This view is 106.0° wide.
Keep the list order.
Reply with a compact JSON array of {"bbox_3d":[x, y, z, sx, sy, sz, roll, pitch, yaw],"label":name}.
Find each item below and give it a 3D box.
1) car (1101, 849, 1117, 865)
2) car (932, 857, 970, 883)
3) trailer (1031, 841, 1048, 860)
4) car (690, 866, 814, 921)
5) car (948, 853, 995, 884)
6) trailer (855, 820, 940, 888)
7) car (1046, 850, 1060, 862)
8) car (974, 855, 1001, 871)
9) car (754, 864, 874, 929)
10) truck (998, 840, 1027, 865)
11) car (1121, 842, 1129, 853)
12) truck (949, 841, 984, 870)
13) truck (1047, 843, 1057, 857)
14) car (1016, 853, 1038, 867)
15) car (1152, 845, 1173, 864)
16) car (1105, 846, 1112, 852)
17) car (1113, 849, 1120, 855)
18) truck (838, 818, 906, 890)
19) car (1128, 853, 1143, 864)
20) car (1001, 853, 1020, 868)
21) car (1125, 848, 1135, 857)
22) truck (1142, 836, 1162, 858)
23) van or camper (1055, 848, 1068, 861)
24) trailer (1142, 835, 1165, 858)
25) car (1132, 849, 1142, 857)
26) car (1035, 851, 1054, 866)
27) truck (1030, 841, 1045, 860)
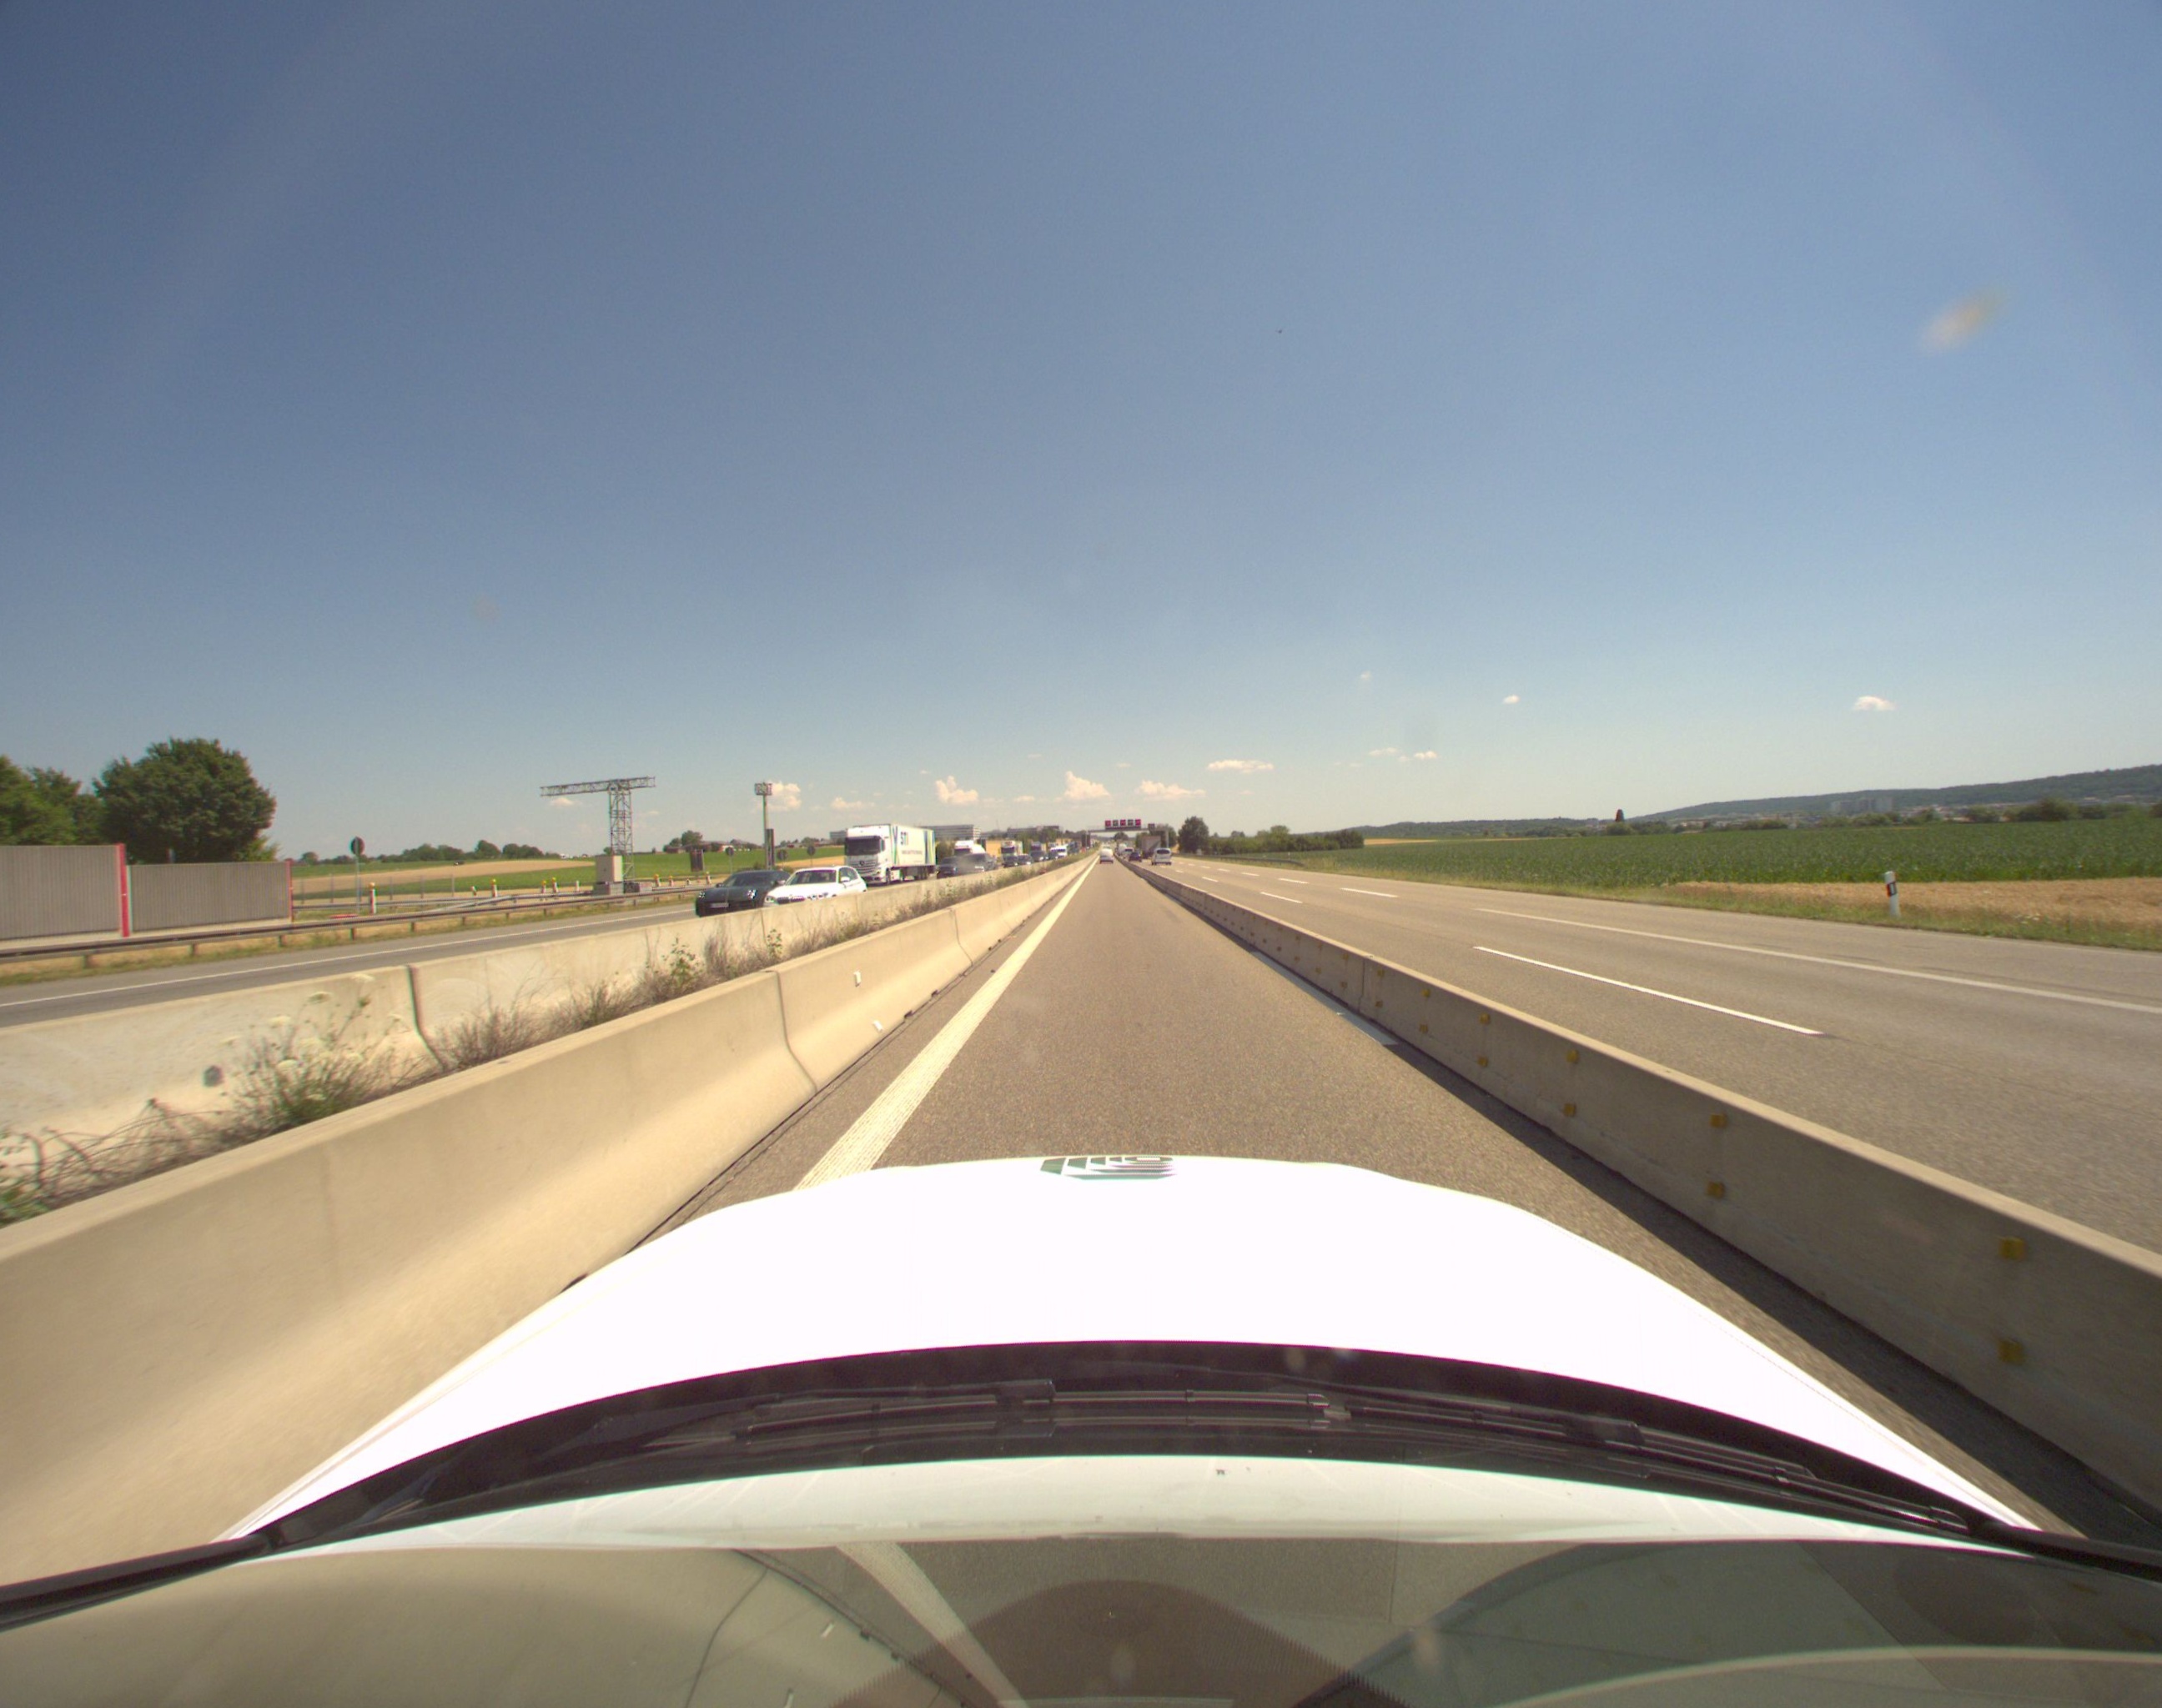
[{"bbox_3d":[3.562,0.409,103.980,1.986,2.014,4.001,-1,0,1],"label":"car"},{"bbox_3d":[-9.492,1.128,59.741,1.986,1.816,4.001,-1,0,1],"label":"car"},{"bbox_3d":[-9.682,-0.818,191.645,2.800,4.128,14.134,-2,0,1],"label":"trailer"},{"bbox_3d":[-10.380,1.191,26.137,1.805,1.486,4.964,-2,0,1],"label":"car"},{"bbox_3d":[-6.191,0.804,46.443,1.883,1.617,4.822,-1,0,1],"label":"car"},{"bbox_3d":[-13.477,-0.027,61.320,2.882,4.375,12.998,-3,0,2],"label":"trailer"},{"bbox_3d":[-4.024,0.248,118.559,1.775,1.589,4.543,-1,0,2],"label":"car"},{"bbox_3d":[-9.102,0.860,79.628,1.839,1.482,4.924,-1,0,2],"label":"car"},{"bbox_3d":[-7.155,1.074,22.346,1.668,1.519,4.509,-1,0,2],"label":"car"},{"bbox_3d":[-10.897,-0.242,130.561,2.784,3.609,13.296,-4,0,2],"label":"truck"},{"bbox_3d":[10.060,-1.405,187.639,1.767,2.392,4.001,-1,0,2],"label":"car"},{"bbox_3d":[-16.617,0.164,119.315,2.889,3.776,13.290,-4,0,1],"label":"truck"},{"bbox_3d":[-8.444,-1.201,237.956,2.402,4.086,4.662,-2,0,2],"label":"truck"},{"bbox_3d":[-5.202,0.565,79.063,1.649,1.351,4.268,-1,0,2],"label":"car"},{"bbox_3d":[9.124,0.060,91.113,1.986,2.120,4.001,-1,0,1],"label":"car"},{"bbox_3d":[8.300,-1.623,247.586,1.986,1.835,4.001,-1,0,2],"label":"car"},{"bbox_3d":[11.317,-0.647,260.963,1.986,1.835,4.001,-1,0,2],"label":"car"},{"bbox_3d":[-13.686,-0.031,53.840,2.860,4.375,4.904,-3,0,1],"label":"truck"},{"bbox_3d":[7.475,0.658,112.064,1.767,1.447,4.001,-1,0,2],"label":"car"},{"bbox_3d":[-8.440,0.765,98.034,1.649,1.651,4.667,-1,0,2],"label":"car"},{"bbox_3d":[8.791,-0.288,146.670,1.767,1.447,4.001,-1,0,2],"label":"car"},{"bbox_3d":[12.727,-1.220,146.003,3.259,3.967,4.914,-1,0,1],"label":"truck"},{"bbox_3d":[-3.422,0.035,145.634,2.028,2.221,7.210,0,0,1],"label":"van or camper"},{"bbox_3d":[12.592,-1.240,142.029,3.265,3.967,9.115,-1,0,2],"label":"trailer"},{"bbox_3d":[13.438,-0.210,195.543,1.986,2.014,4.001,-1,0,1],"label":"car"},{"bbox_3d":[-4.158,0.479,93.542,1.836,1.569,5.347,-1,0,2],"label":"car"},{"bbox_3d":[-9.848,-0.787,184.652,2.800,4.128,4.843,-2,0,1],"label":"truck"}]
